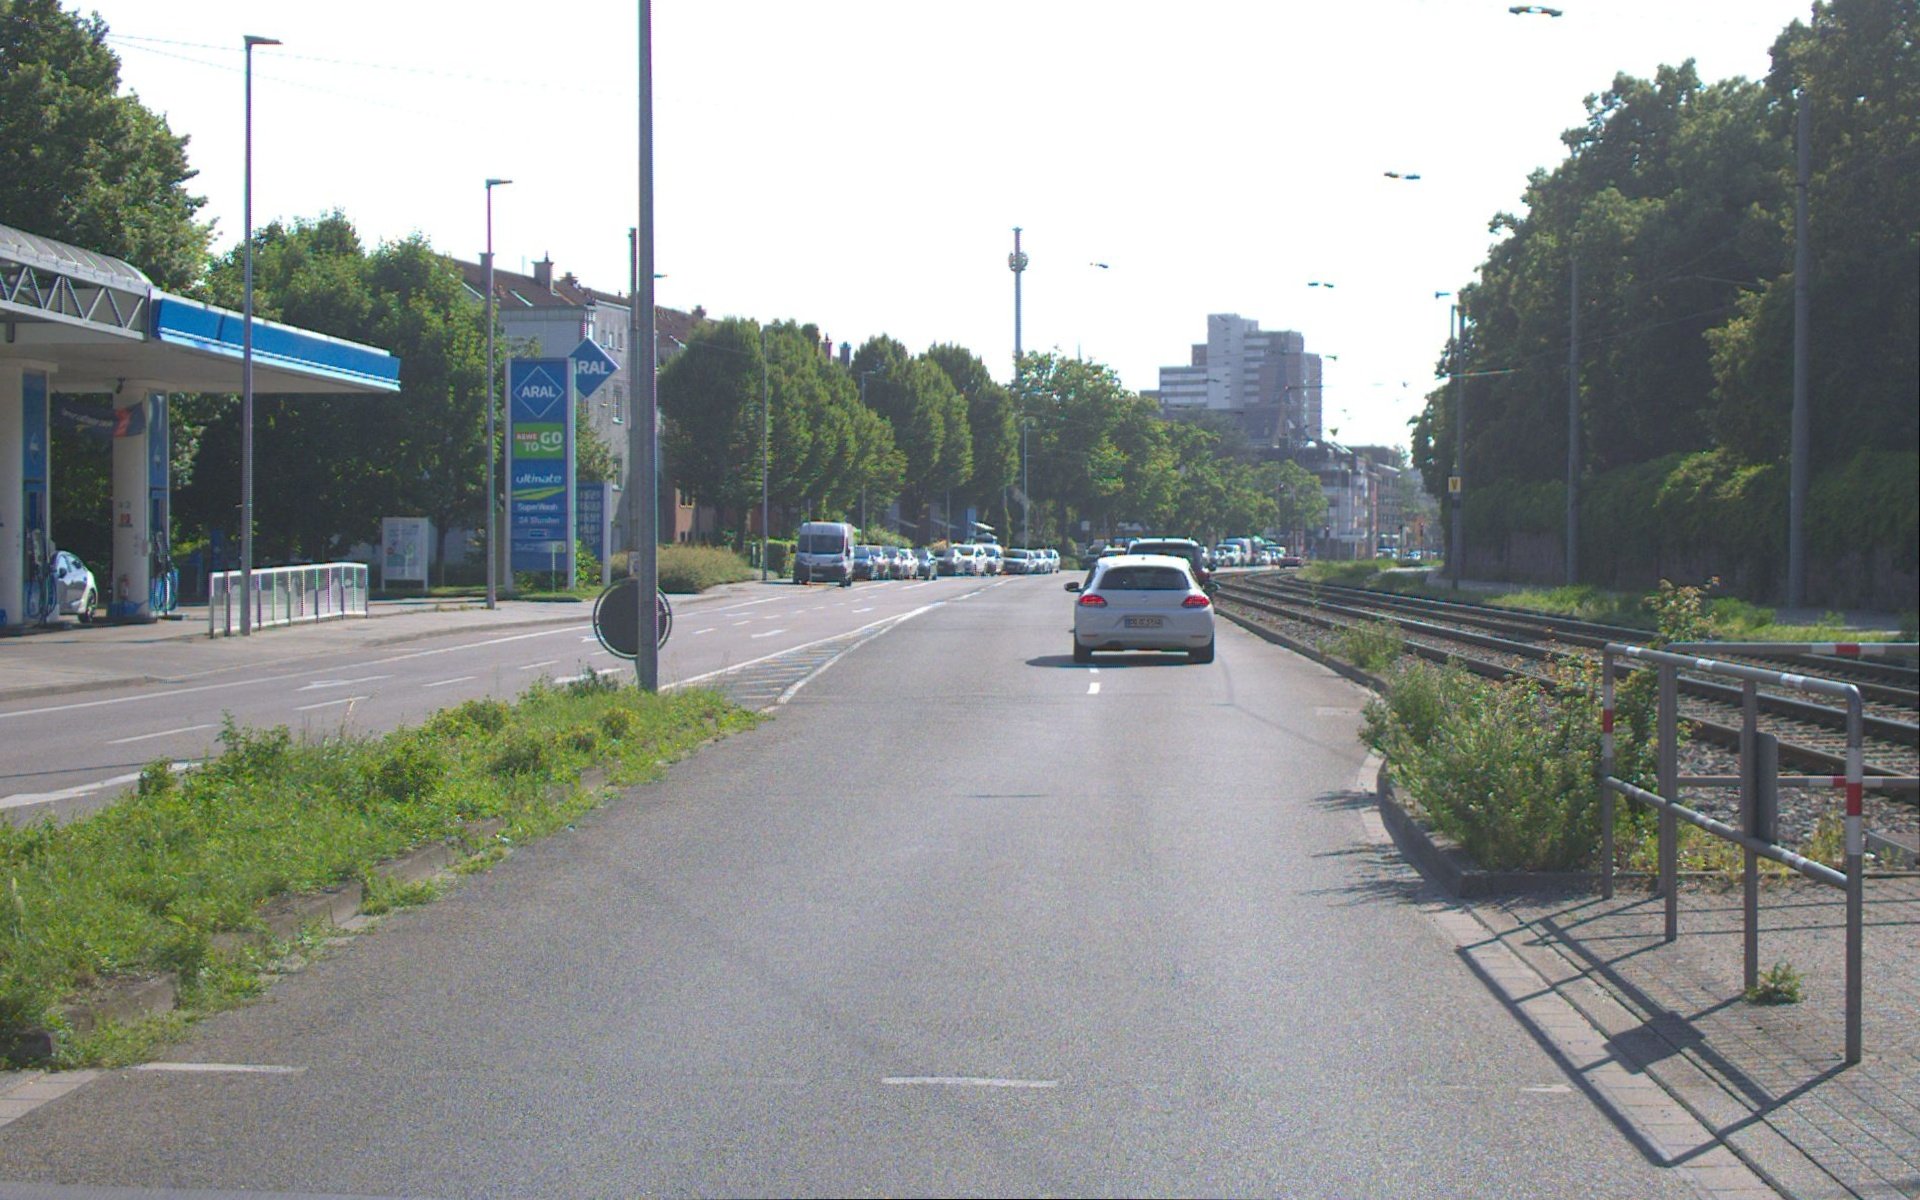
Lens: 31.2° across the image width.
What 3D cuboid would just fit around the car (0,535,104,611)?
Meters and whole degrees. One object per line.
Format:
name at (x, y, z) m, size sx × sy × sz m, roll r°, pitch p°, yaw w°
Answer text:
car at (-17.976, -0.543, 66.502) m, size 1.744 × 1.388 × 4.121 m, roll 0°, pitch 1°, yaw 1°

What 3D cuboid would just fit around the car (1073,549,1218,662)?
car at (2.400, 0.041, 45.088) m, size 1.781 × 1.351 × 3.601 m, roll 2°, pitch 1°, yaw 2°

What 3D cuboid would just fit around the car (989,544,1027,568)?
car at (2.884, -2.650, 205.650) m, size 1.994 × 1.411 × 3.843 m, roll 0°, pitch 1°, yaw 4°

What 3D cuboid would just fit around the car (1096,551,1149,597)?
car at (5.628, -0.901, 118.880) m, size 1.749 × 1.480 × 3.601 m, roll 2°, pitch 1°, yaw 3°

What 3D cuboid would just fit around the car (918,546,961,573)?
car at (-1.084, -2.177, 184.313) m, size 1.994 × 1.411 × 3.843 m, roll 0°, pitch 1°, yaw 4°

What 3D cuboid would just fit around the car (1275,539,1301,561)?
car at (24.548, -3.730, 256.903) m, size 1.725 × 1.587 × 3.600 m, roll 2°, pitch 1°, yaw 8°

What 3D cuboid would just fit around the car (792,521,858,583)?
car at (-5.266, -1.917, 135.012) m, size 1.994 × 2.368 × 4.538 m, roll 0°, pitch 1°, yaw 5°

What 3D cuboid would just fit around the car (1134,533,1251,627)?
car at (4.203, -0.388, 62.681) m, size 1.724 × 1.587 × 3.602 m, roll 2°, pitch 1°, yaw -2°

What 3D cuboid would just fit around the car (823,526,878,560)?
car at (-4.790, -2.506, 150.702) m, size 1.994 × 1.411 × 3.843 m, roll 0°, pitch 1°, yaw 4°

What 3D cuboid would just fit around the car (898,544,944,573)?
car at (-1.953, -2.077, 172.781) m, size 1.994 × 1.411 × 3.843 m, roll 0°, pitch 1°, yaw 4°
